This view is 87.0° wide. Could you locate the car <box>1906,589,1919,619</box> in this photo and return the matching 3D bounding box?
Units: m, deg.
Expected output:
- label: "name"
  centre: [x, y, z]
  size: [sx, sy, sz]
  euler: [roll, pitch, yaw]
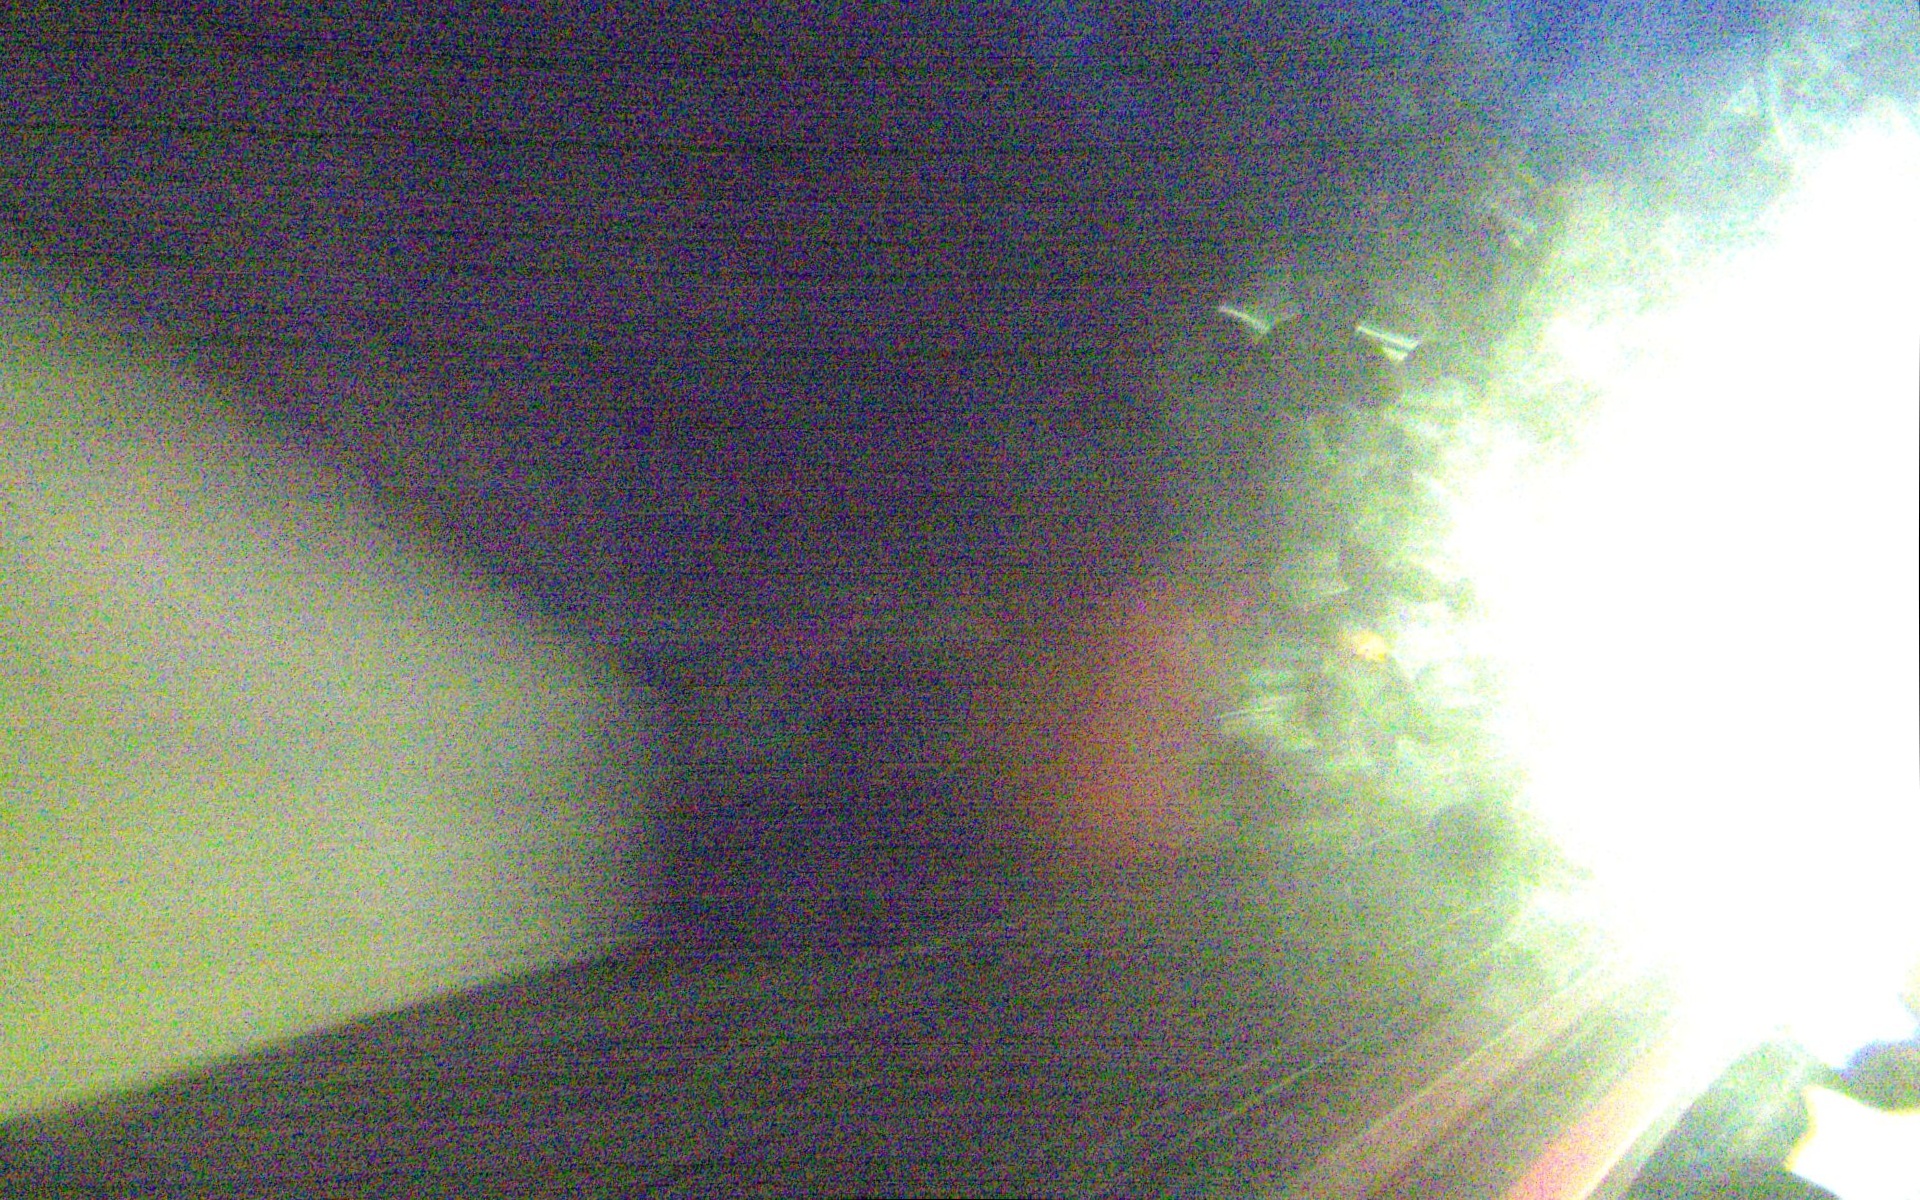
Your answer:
- label: "car"
  centre: [60.858, 0.251, 63.391]
  size: [1.698, 1.794, 3.951]
  euler: [0, 1, 34]
